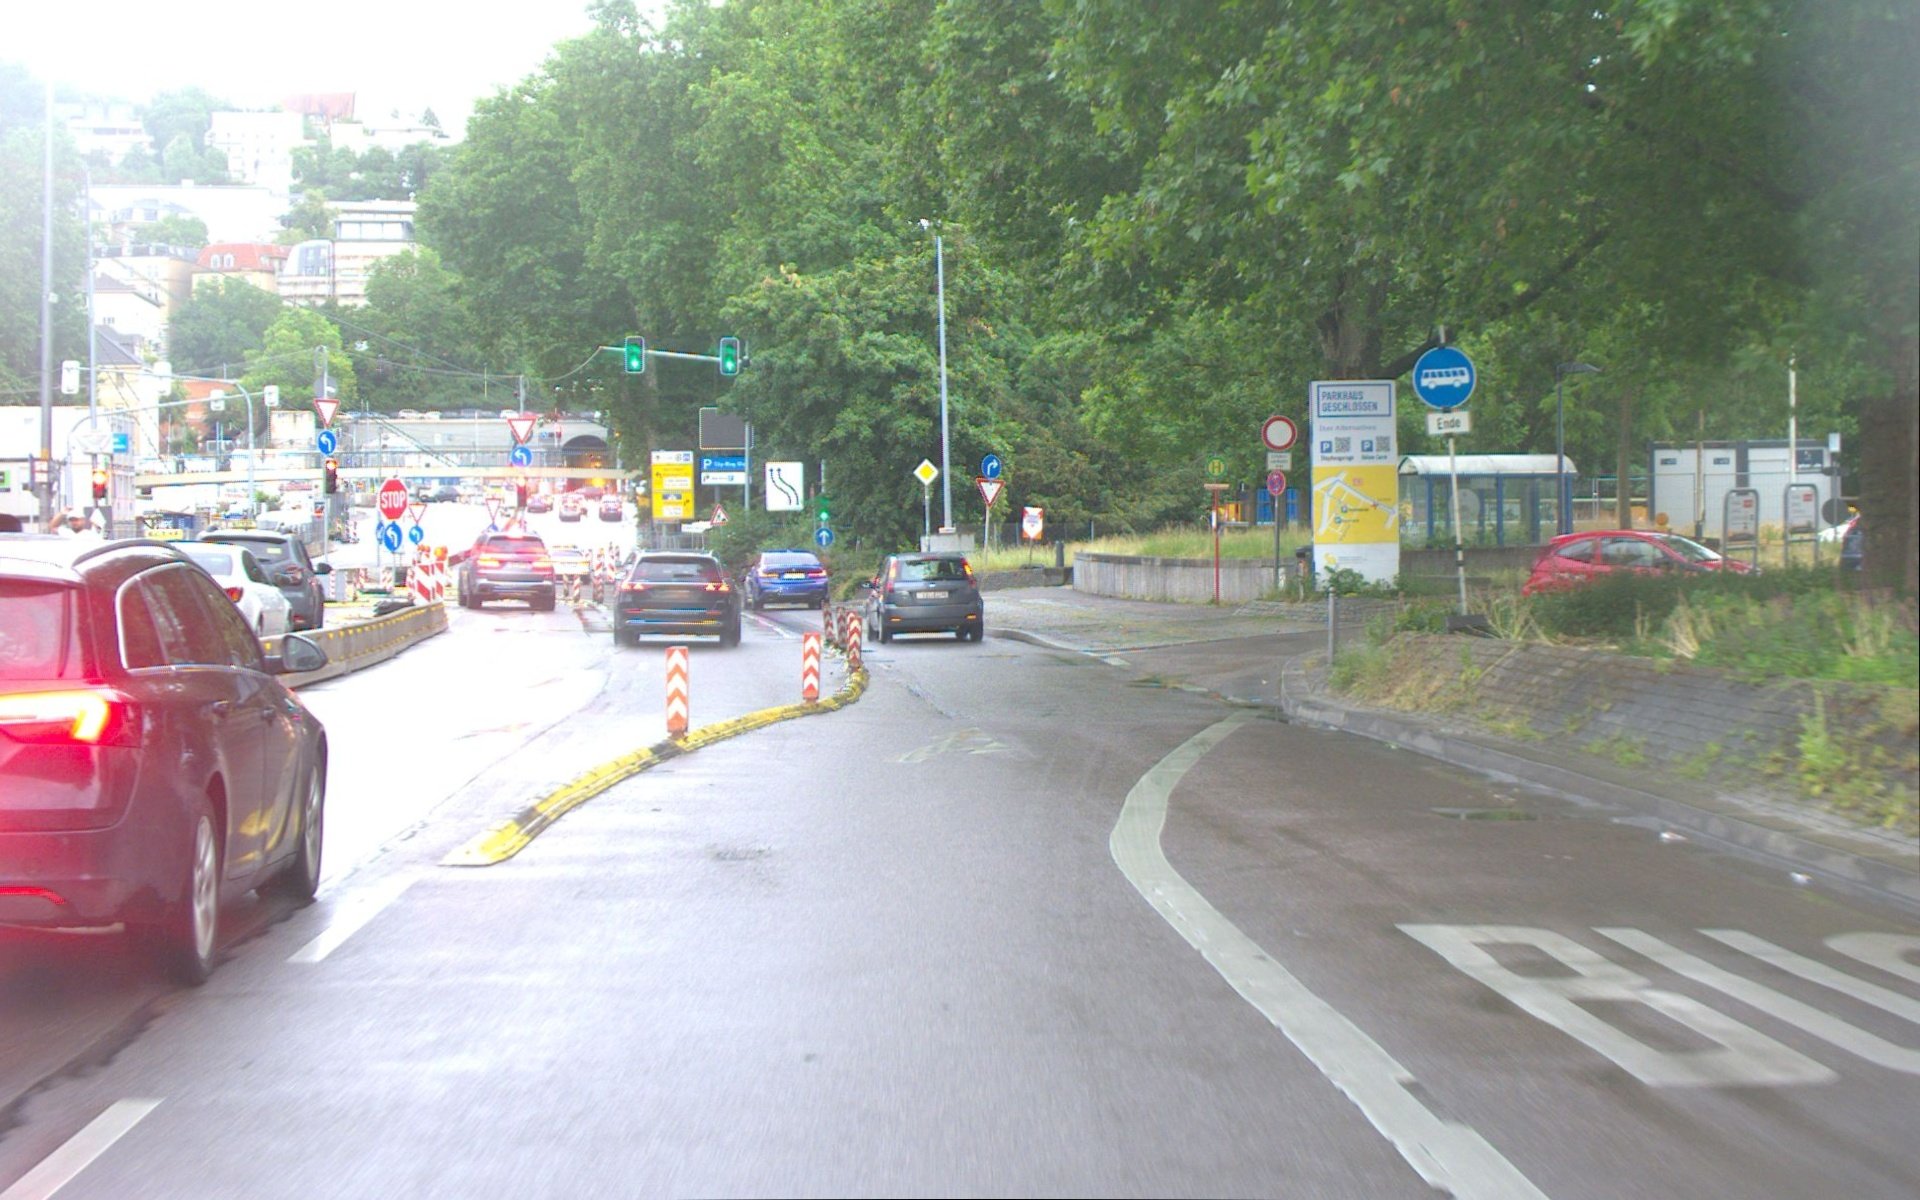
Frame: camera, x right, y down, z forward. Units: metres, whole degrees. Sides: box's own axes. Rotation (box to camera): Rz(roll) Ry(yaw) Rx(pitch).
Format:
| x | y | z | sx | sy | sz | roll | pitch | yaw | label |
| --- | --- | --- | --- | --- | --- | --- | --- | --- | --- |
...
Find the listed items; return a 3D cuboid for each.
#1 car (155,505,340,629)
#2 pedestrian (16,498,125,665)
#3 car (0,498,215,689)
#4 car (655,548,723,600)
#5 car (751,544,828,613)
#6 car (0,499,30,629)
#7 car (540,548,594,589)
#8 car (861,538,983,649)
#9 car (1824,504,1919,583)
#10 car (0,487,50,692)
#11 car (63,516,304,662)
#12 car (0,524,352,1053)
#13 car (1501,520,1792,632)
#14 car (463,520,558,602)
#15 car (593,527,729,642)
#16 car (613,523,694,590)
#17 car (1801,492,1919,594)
| x | y | z | sx | sy | sz | roll | pitch | yaw | label |
| --- | --- | --- | --- | --- | --- | --- | --- | --- | --- |
| -9.427 | -0.449 | 45.779 | 1.993 | 1.525 | 4.153 | -2 | 1 | -6 | car |
| -10.813 | -0.229 | 41.812 | 1.025 | 2.007 | 0.836 | 0 | 1 | 12 | pedestrian |
| -7.986 | -0.089 | 29.864 | 1.972 | 1.506 | 5.006 | 1 | 1 | -1 | car |
| -8.761 | -0.841 | 111.048 | 1.634 | 1.619 | 3.796 | 1 | 1 | -13 | car |
| -4.029 | -0.509 | 81.585 | 1.674 | 1.576 | 3.240 | 1 | 1 | -1 | car |
| -12.818 | -0.461 | 42.653 | 1.714 | 1.624 | 4.056 | 1 | 1 | -4 | car |
| -15.680 | -1.262 | 136.976 | 1.813 | 1.569 | 4.001 | 1 | 1 | -11 | car |
| -0.651 | -0.123 | 55.629 | 1.851 | 1.711 | 4.000 | 1 | 1 | -2 | car |
| 21.948 | -1.270 | 79.066 | 4.443 | 1.775 | 1.949 | 1 | 1 | -44 | car |
| -7.918 | -0.086 | 24.720 | 1.823 | 1.506 | 4.491 | 1 | 1 | -4 | car |
| -8.990 | -0.153 | 40.175 | 1.993 | 1.562 | 4.876 | -1 | 1 | -4 | car |
| -3.426 | 0.491 | 12.146 | 1.877 | 1.503 | 4.852 | 0 | 1 | -2 | car |
| 9.677 | -0.344 | 48.575 | 3.615 | 1.500 | 1.730 | 1 | 1 | 39 | car |
| -10.518 | -0.910 | 80.266 | 1.993 | 1.820 | 4.001 | 1 | 1 | -10 | car |
| -4.533 | -0.264 | 52.612 | 1.830 | 1.680 | 4.134 | 0 | 1 | -2 | car |
| -8.177 | -1.153 | 91.987 | 1.904 | 1.711 | 4.000 | 1 | 1 | -2 | car |
| 19.318 | -1.128 | 70.205 | 2.132 | 2.007 | 4.637 | 2 | 1 | 43 | car |
